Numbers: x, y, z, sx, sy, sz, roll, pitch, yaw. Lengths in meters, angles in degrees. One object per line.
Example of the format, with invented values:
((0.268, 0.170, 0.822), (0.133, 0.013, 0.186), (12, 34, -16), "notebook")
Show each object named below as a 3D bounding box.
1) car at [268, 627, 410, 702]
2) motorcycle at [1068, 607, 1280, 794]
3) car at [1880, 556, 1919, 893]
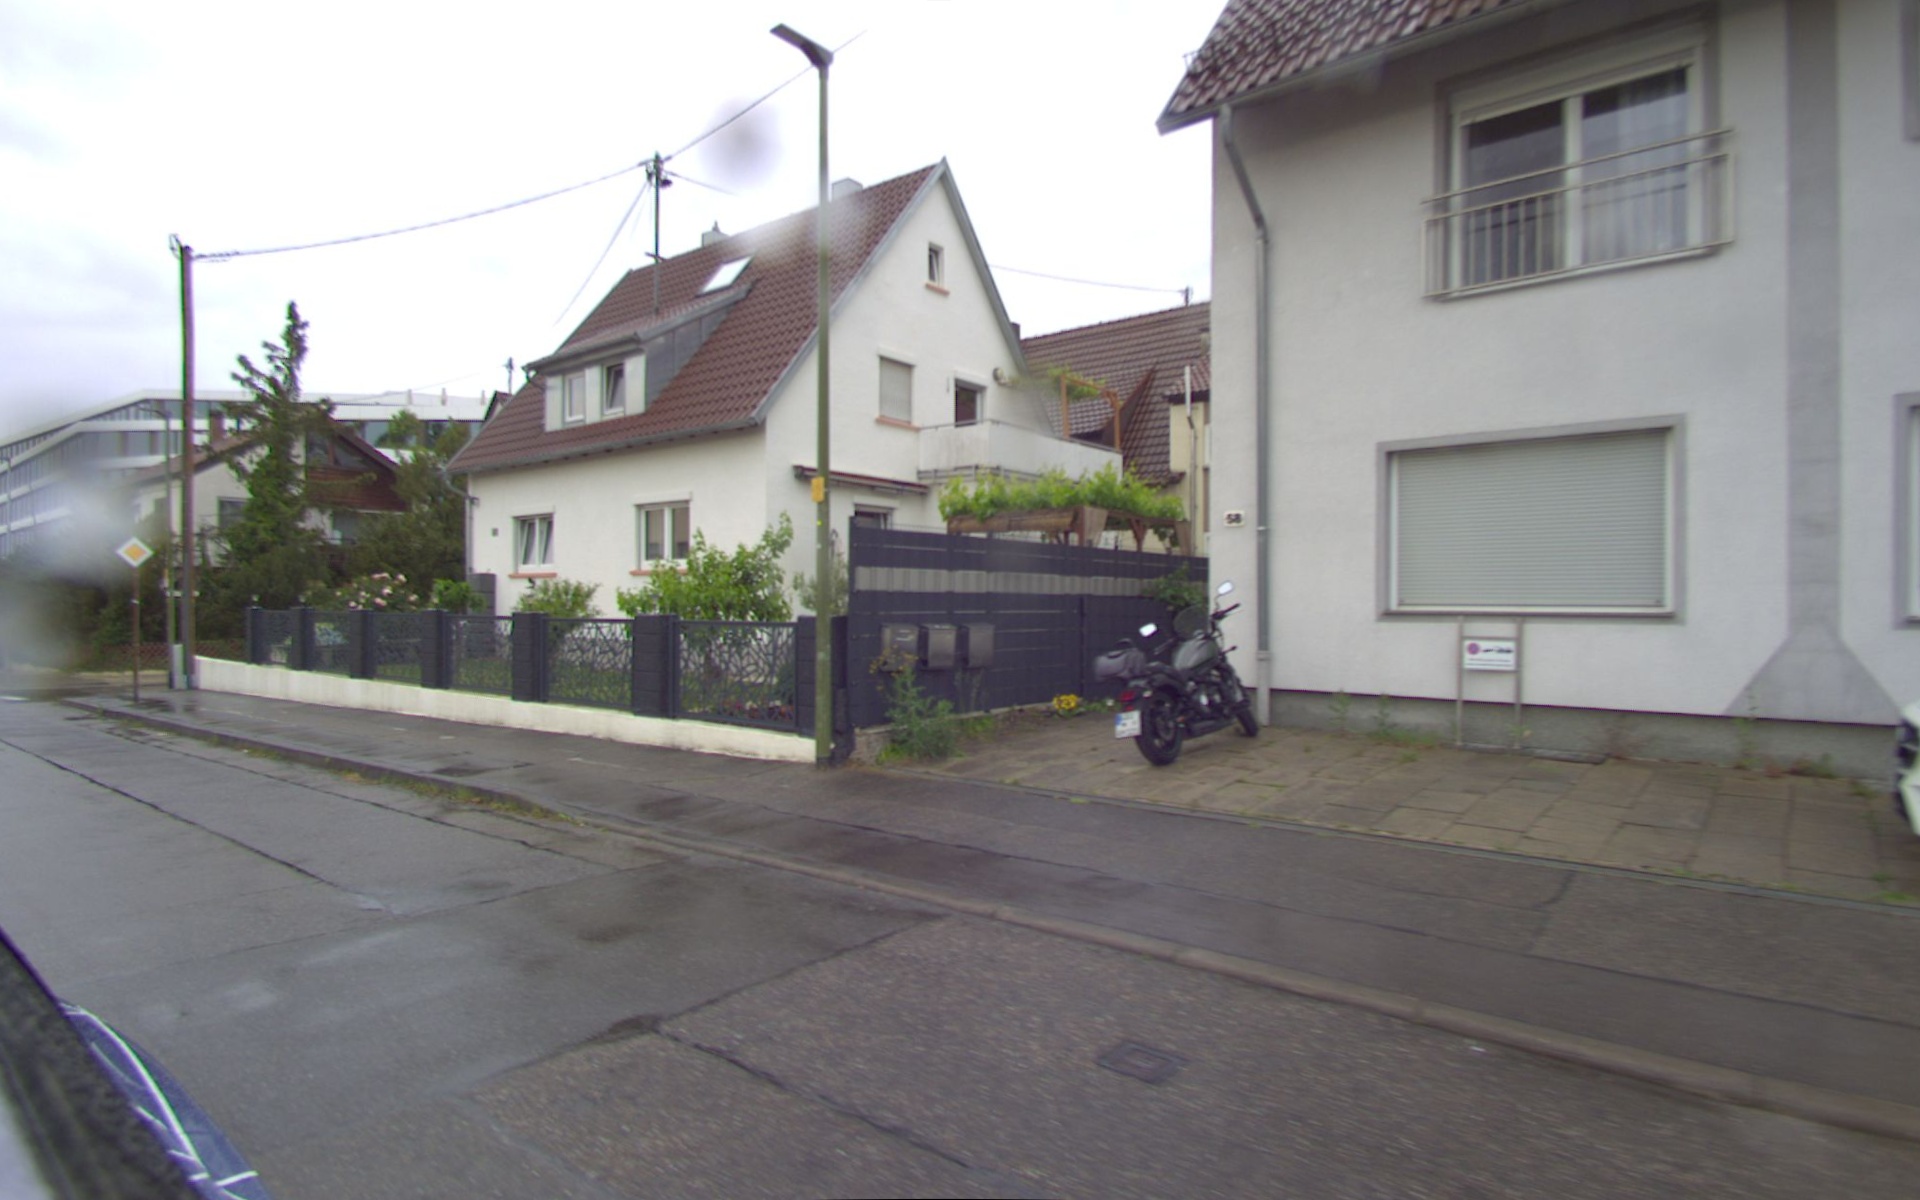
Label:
((-13.920, 1.378, 22.628), (3.455, 1.478, 1.760), (-1, 0, 41), "car")
((1.909, 0.764, 8.704), (0.735, 1.283, 2.339), (-2, 1, 40), "motorcycle")
((6.925, 0.503, 3.883), (4.891, 1.521, 1.974), (-2, 2, 40), "car")
